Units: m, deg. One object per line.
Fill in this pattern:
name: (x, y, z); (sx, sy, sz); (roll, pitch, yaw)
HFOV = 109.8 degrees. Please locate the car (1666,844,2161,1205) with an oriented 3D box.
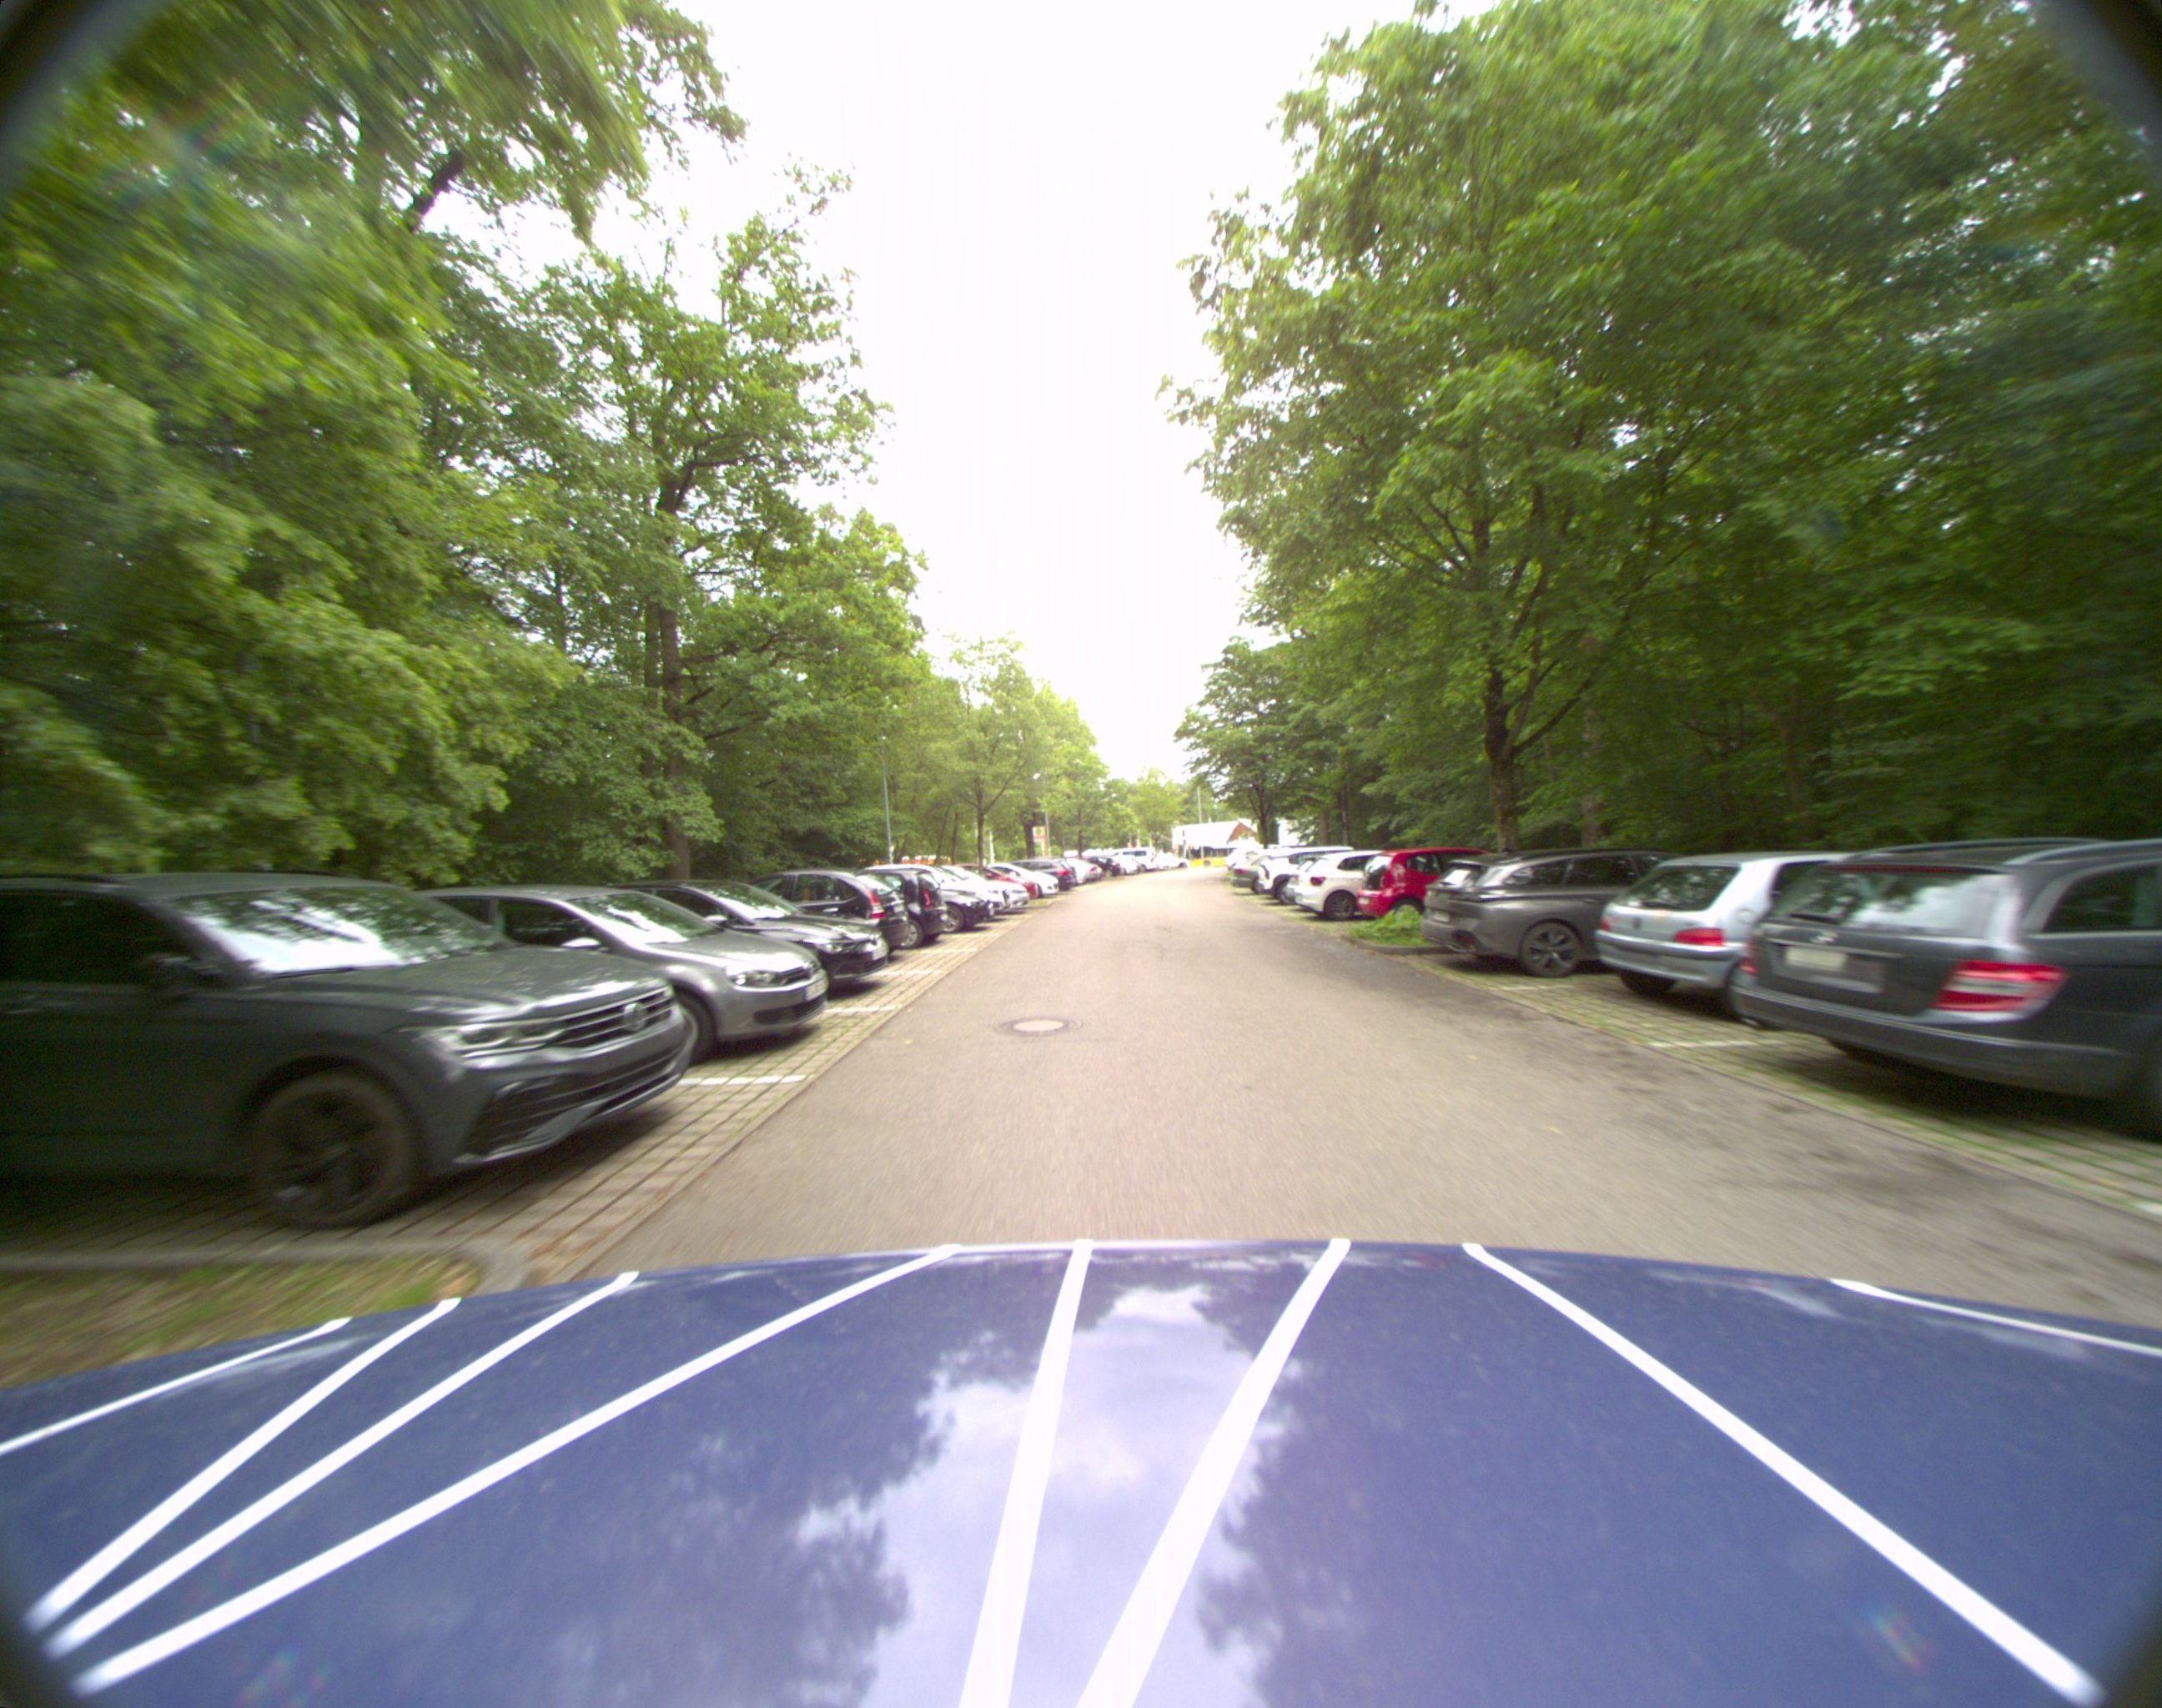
car: (6.263, 0.724, 4.272); (4.275, 1.477, 2.058); (-2, 0, 3)

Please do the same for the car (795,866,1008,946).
car: (-3.885, 1.115, 16.937); (4.197, 1.503, 1.893); (-3, 0, 2)

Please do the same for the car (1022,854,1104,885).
car: (-0.944, 0.848, 41.894); (4.133, 1.453, 1.866); (-2, 1, 12)

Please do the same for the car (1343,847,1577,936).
car: (6.883, 0.651, 14.096); (3.472, 1.472, 1.684); (-2, 0, 4)

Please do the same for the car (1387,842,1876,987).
car: (6.369, 0.665, 9.291); (4.415, 1.416, 2.036); (-2, 0, 3)

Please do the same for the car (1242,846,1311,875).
car: (11.003, 0.364, 42.905); (3.612, 1.465, 1.676); (-2, 0, 13)

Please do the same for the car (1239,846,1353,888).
car: (8.717, 0.520, 31.091); (4.242, 1.524, 1.763); (-2, 0, 6)

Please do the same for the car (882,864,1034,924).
car: (-3.480, 1.117, 21.994); (3.986, 1.475, 1.884); (-3, 0, 2)

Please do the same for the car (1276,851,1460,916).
car: (6.946, 0.690, 18.700); (3.812, 1.412, 1.897); (-2, 0, 1)

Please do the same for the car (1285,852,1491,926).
car: (6.522, 0.725, 16.485); (3.734, 1.411, 1.872); (-2, 0, 5)

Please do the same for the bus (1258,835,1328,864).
bus: (25.764, -0.578, 92.543); (7.760, 3.139, 2.810); (-2, -2, -15)

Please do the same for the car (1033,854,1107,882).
car: (-0.592, 0.832, 44.550); (3.994, 1.441, 1.942); (-2, 0, 10)

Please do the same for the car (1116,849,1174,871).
car: (5.600, 0.500, 66.601); (4.524, 1.683, 2.168); (-3, 0, 23)

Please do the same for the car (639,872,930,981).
car: (-4.554, 1.088, 12.074); (3.836, 1.451, 1.851); (-2, 0, 2)

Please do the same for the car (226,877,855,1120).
car: (-4.293, 1.095, 6.692); (3.998, 1.542, 1.975); (-3, 0, -4)

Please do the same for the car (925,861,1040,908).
car: (-3.387, 1.040, 26.721); (3.804, 1.432, 1.870); (-3, 0, -2)

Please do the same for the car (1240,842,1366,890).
car: (8.266, 0.444, 28.626); (4.242, 1.637, 1.970); (-2, 0, 5)

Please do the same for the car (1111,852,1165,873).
car: (4.814, 0.713, 64.235); (4.001, 1.546, 1.950); (-4, -1, 24)

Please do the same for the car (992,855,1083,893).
car: (-1.961, 0.908, 34.967); (3.775, 1.580, 1.951); (-3, 0, 9)

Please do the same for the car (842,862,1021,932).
car: (-3.733, 1.062, 19.466); (4.017, 1.550, 1.978); (-3, 0, 6)

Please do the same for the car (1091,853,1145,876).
car: (2.882, 0.850, 59.124); (3.728, 1.545, 1.849); (-4, -3, 16)

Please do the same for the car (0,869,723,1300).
car: (-4.585, 1.025, 4.122); (4.276, 1.656, 1.958); (-3, 0, 1)

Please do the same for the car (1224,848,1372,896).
car: (7.422, 0.590, 26.412); (4.649, 1.469, 2.096); (-2, 0, 6)

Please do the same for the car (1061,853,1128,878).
car: (0.905, 0.737, 49.399); (3.993, 1.474, 1.924); (-2, 0, 14)

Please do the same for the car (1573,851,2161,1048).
car: (6.800, 0.745, 6.666); (3.765, 1.379, 1.756); (-2, 0, 4)

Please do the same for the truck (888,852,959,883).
truck: (-19.755, 1.743, 95.486); (8.234, 3.493, 2.871); (-3, -1, 12)

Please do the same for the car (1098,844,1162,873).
car: (3.980, 0.397, 61.631); (4.655, 2.008, 2.086); (-5, -2, 17)

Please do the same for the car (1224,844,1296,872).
car: (11.352, 0.267, 48.212); (4.361, 1.588, 2.033); (-2, 1, 14)

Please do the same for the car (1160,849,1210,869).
car: (11.074, 0.529, 81.039); (4.926, 1.766, 2.000); (-3, -2, -5)

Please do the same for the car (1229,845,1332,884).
car: (8.770, 0.455, 33.801); (4.240, 1.521, 2.008); (-2, 0, 10)

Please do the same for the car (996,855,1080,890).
car: (-2.095, 0.891, 37.522); (3.850, 1.537, 1.731); (-2, 0, 8)

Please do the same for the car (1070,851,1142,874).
car: (1.831, 0.629, 54.595); (4.778, 1.467, 1.855); (-3, -1, 17)

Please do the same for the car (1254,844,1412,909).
car: (6.894, 0.607, 21.220); (3.966, 1.618, 2.000); (-2, 0, 13)

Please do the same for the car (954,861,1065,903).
car: (-2.723, 1.079, 29.511); (3.940, 1.402, 1.879); (-3, 0, 6)

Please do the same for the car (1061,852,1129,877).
car: (0.985, 0.685, 52.024); (4.235, 1.472, 1.921); (-3, 0, 14)

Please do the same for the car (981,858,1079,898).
car: (-2.079, 0.987, 31.783); (3.776, 1.472, 1.774); (-3, 0, 4)

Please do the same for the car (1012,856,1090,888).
car: (-1.513, 0.928, 39.577); (3.708, 1.502, 1.752); (-2, 1, 10)

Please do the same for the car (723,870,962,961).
car: (-4.363, 1.114, 14.308); (3.835, 1.449, 1.809); (-2, 1, 4)

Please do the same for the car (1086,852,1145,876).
car: (2.615, 0.764, 56.832); (3.993, 1.475, 1.879); (-4, 1, 16)

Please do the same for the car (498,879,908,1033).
car: (-4.413, 1.168, 9.342); (3.996, 1.466, 1.953); (-3, 0, 3)

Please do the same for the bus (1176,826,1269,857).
bus: (16.812, -1.513, 90.256); (10.523, 3.139, 2.810); (-2, -2, -15)

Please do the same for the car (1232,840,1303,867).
car: (14.152, -0.025, 57.622); (5.092, 1.904, 1.981); (-2, 0, 18)
